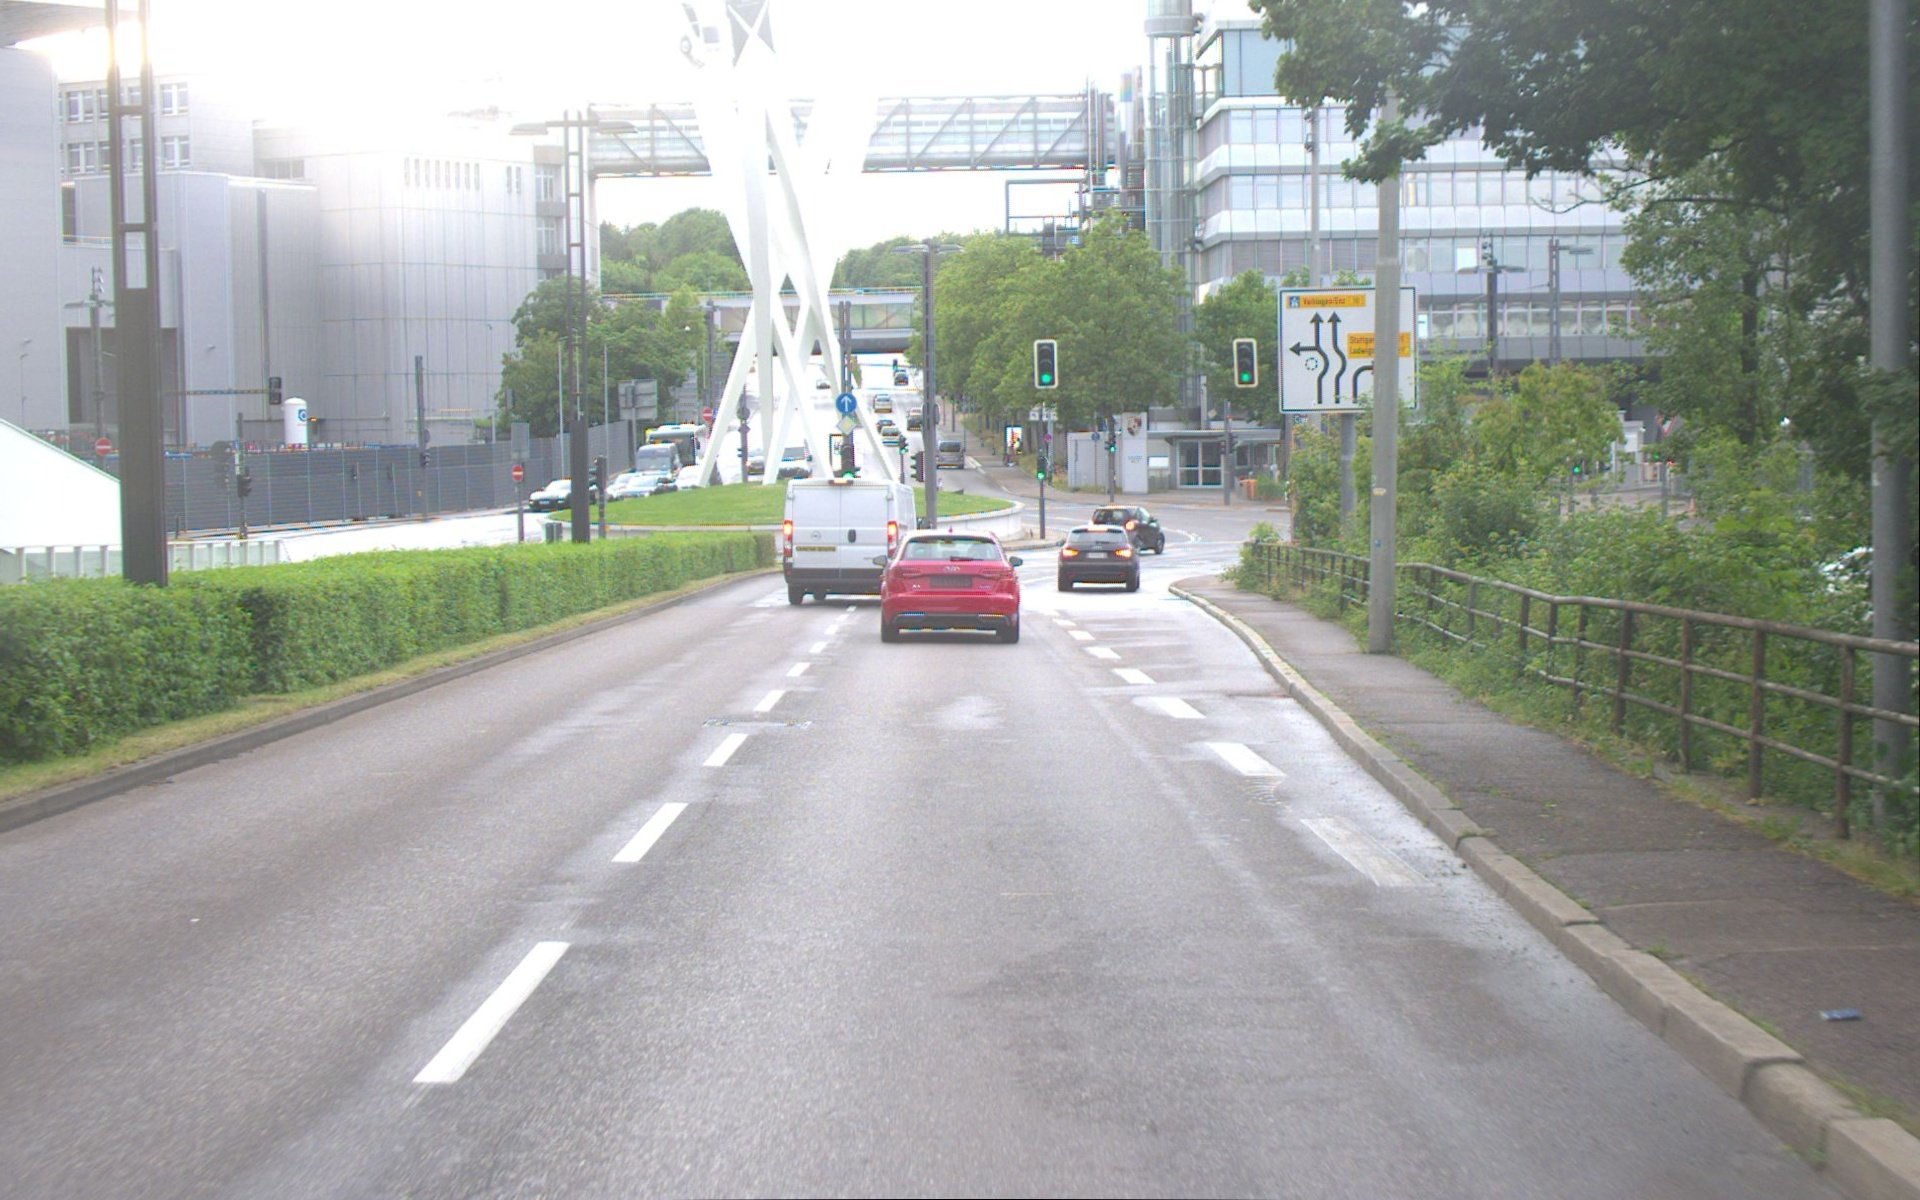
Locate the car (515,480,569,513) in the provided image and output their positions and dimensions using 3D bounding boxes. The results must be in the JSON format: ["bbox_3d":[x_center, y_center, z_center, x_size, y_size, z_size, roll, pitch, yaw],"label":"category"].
[{"bbox_3d":[-19.269,-4.785,158.583,1.833,1.467,4.514,0,2,2],"label":"car"}]

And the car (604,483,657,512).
[{"bbox_3d":[-15.216,-4.733,158.791,1.845,1.333,4.000,0,2,3],"label":"car"}]

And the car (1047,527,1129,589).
[{"bbox_3d":[2.732,-0.903,74.049,1.610,1.286,3.567,0,1,0],"label":"car"}]

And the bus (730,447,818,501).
[{"bbox_3d":[-11.347,-7.732,210.966,2.670,3.190,12.665,0,2,9],"label":"bus"}]

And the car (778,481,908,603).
[{"bbox_3d":[-2.076,-1.055,62.025,2.232,2.100,4.955,0,1,-1],"label":"car"}]

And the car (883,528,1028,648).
[{"bbox_3d":[-0.069,-0.177,44.101,1.772,1.459,3.733,0,1,0],"label":"car"}]

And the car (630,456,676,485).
[{"bbox_3d":[-15.925,-6.707,178.564,1.833,1.467,4.514,0,2,2],"label":"car"}]

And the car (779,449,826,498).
[{"bbox_3d":[-8.090,-6.476,176.565,1.993,2.438,5.427,-1,2,1],"label":"car"}]

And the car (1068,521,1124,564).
[{"bbox_3d":[4.150,-1.767,105.075,1.557,1.284,3.414,0,1,0],"label":"car"}]
